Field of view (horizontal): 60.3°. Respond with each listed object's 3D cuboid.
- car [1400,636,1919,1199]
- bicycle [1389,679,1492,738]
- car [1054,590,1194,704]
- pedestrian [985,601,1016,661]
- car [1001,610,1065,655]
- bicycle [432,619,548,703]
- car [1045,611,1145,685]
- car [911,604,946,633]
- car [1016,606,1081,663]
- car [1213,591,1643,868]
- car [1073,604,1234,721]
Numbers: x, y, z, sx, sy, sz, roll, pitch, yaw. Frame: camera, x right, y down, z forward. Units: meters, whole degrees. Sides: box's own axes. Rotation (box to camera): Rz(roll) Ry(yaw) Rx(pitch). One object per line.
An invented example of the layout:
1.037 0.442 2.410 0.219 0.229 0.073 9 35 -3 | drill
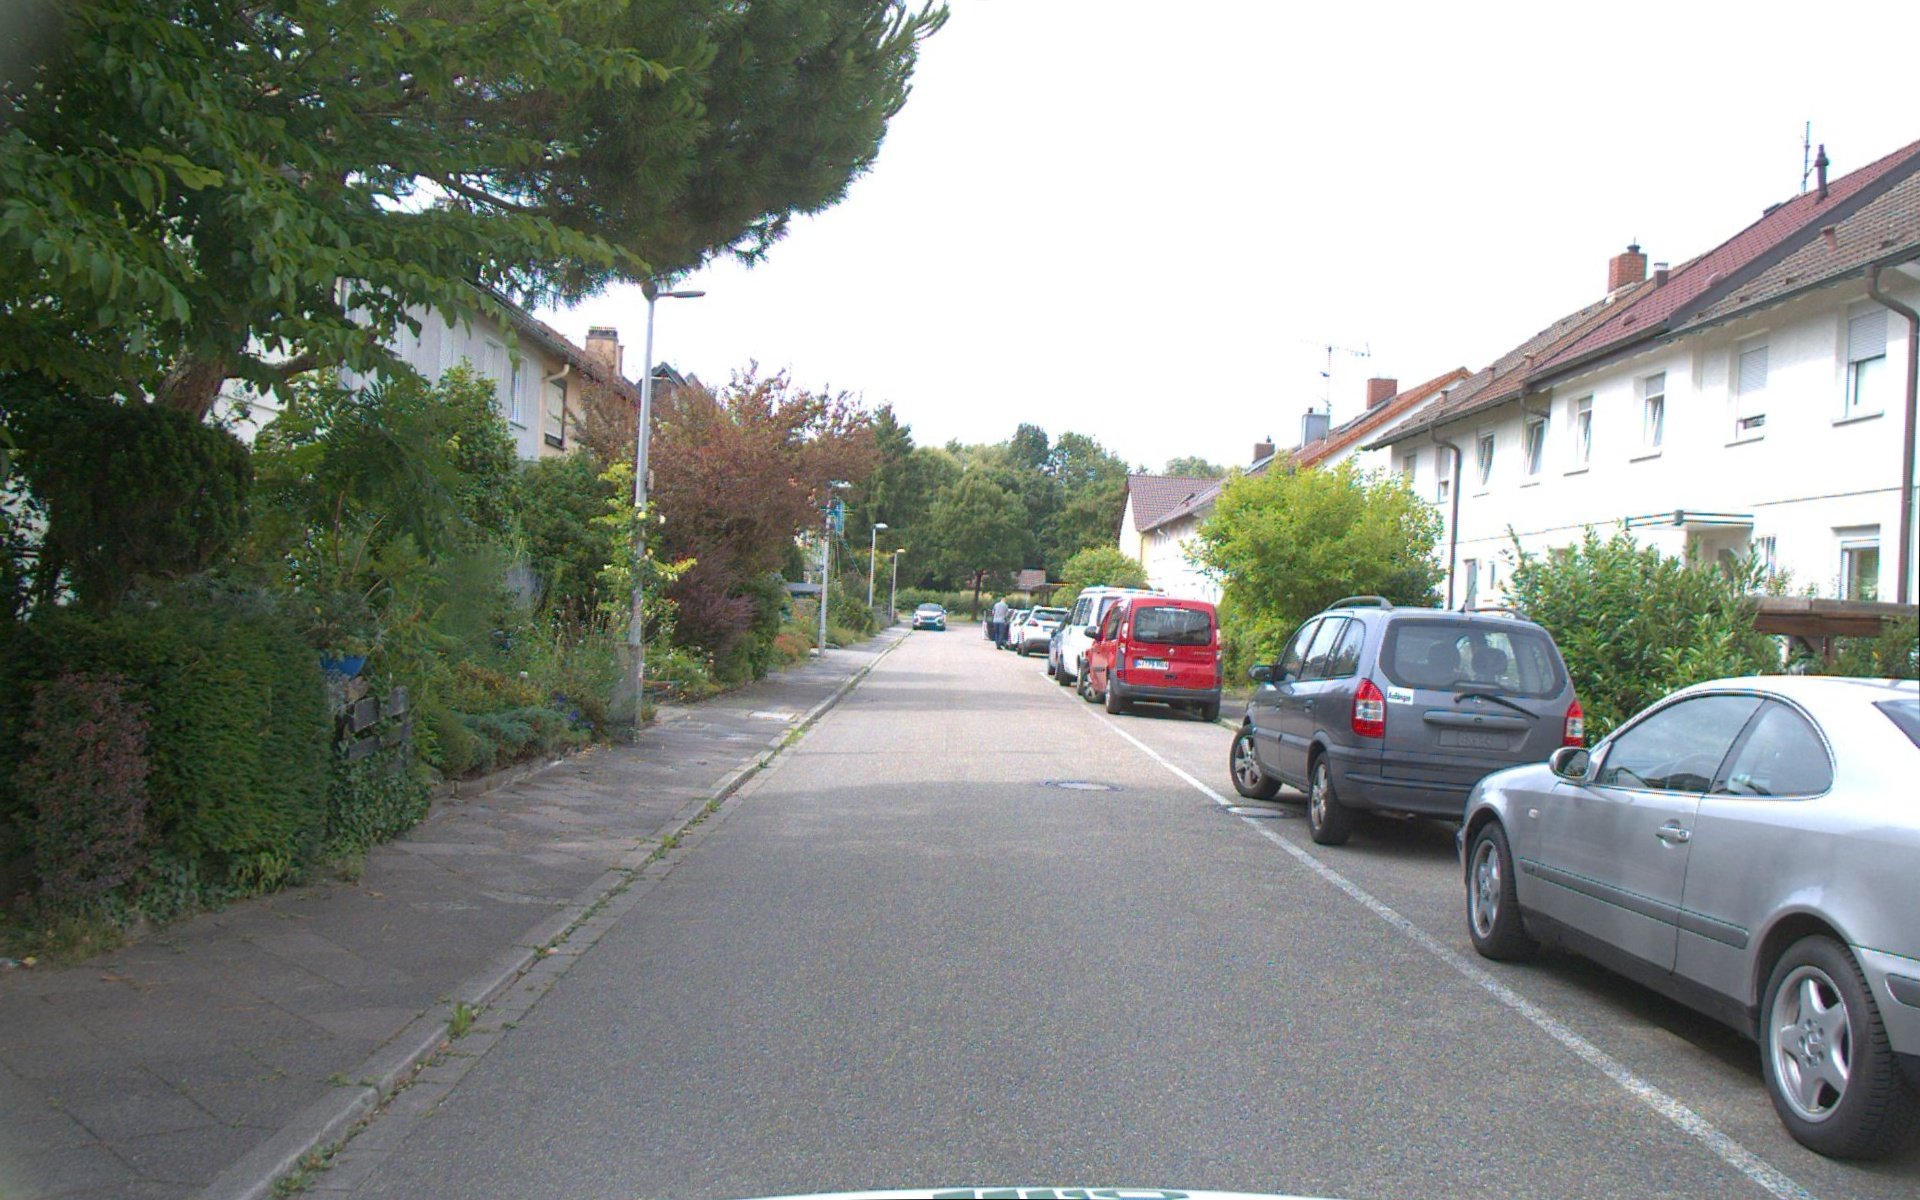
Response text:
3.370 0.977 6.303 1.830 1.431 4.765 4 0 -3 | car
7.809 1.755 26.883 1.571 0.881 0.738 2 0 -32 | bicycle
3.071 0.842 31.909 1.980 1.981 4.745 2 0 -3 | car
1.439 1.076 58.730 0.894 2.048 0.950 4 -1 -4 | pedestrian
2.560 1.132 59.104 1.801 1.437 4.634 2 0 -3 | car
-5.812 0.736 20.402 1.672 0.908 0.526 3 1 41 | bicycle
2.955 1.027 37.010 1.862 1.485 4.129 2 0 0 | car
-1.796 1.081 96.306 1.894 1.583 4.634 2 0 0 | car
2.716 1.036 51.532 1.679 1.570 3.973 4 0 0 | car
3.324 0.825 12.744 1.830 1.682 4.462 3 0 -3 | car
3.043 0.936 26.909 1.775 1.679 4.407 2 0 -4 | car
